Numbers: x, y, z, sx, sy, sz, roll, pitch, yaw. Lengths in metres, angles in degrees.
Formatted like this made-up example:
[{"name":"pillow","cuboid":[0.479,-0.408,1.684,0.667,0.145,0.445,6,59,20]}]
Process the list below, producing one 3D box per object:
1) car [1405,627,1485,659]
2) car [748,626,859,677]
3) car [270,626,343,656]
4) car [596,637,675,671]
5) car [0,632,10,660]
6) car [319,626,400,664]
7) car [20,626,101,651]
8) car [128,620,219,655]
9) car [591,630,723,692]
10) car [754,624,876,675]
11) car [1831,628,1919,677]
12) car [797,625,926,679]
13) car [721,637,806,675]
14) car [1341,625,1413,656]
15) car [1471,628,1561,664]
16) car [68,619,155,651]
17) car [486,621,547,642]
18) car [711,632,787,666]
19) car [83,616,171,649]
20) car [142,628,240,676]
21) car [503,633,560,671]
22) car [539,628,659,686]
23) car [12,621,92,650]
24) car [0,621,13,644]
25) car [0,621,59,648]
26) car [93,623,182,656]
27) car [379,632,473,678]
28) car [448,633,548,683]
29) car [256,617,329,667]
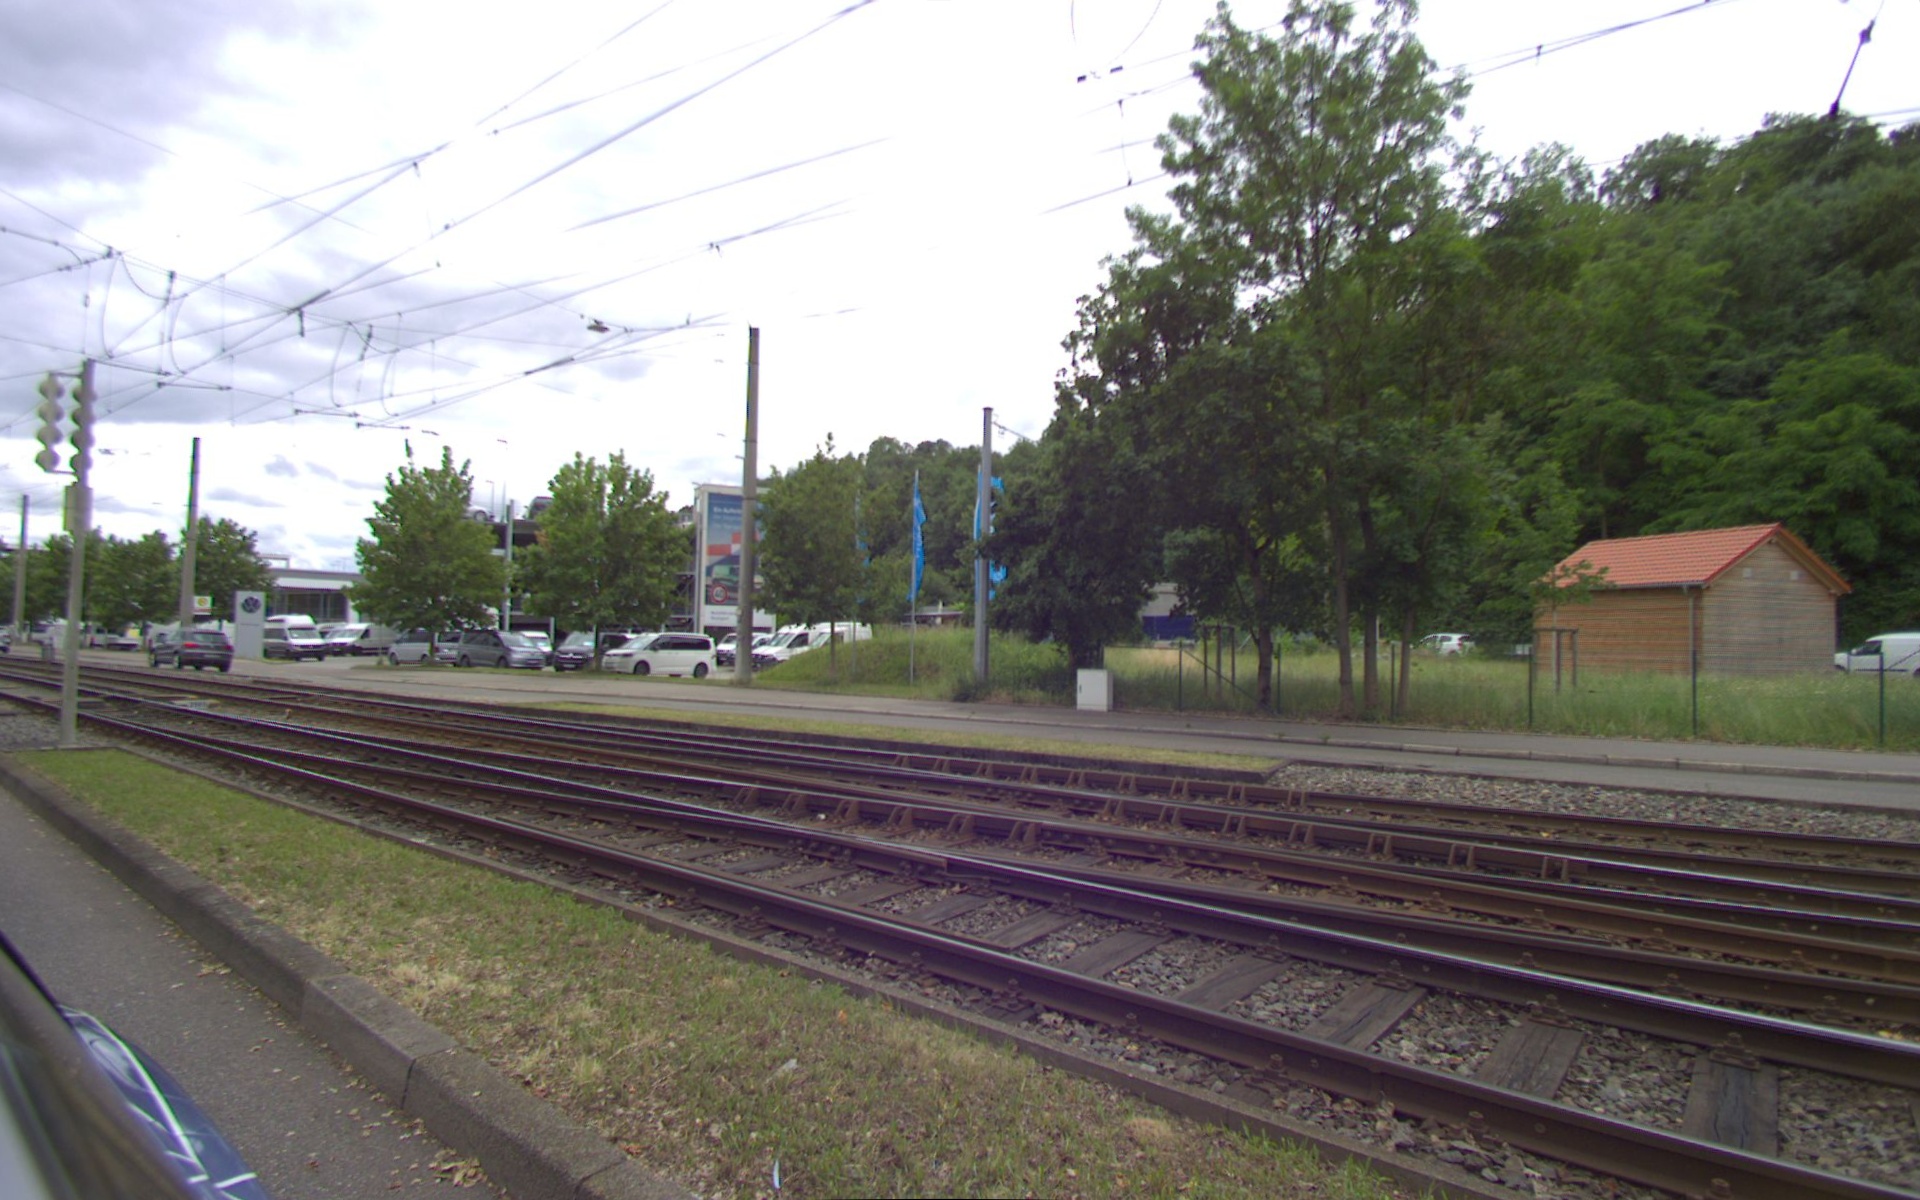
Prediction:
[{"name":"car","cuboid":[26.494,2.322,55.390,1.727,1.625,3.693,-1,0,-25]},{"name":"car","cuboid":[-8.394,2.712,54.441,5.568,2.479,1.986,-1,0,-31]},{"name":"car","cuboid":[-53.652,3.309,83.131,2.107,2.225,4.579,-1,0,39]},{"name":"car","cuboid":[-19.417,3.203,60.623,4.165,1.850,1.986,-1,0,-31]},{"name":"car","cuboid":[-55.493,2.580,57.104,4.169,1.590,1.976,-1,-4,36]},{"name":"car","cuboid":[-46.466,3.425,78.528,2.293,2.642,6.036,-1,0,6]},{"name":"car","cuboid":[-73.567,3.092,82.843,2.102,1.854,4.589,-1,0,32]},{"name":"car","cuboid":[-54.960,2.566,70.799,2.102,2.225,4.589,-1,0,32]},{"name":"car","cuboid":[-12.826,2.519,43.121,1.997,2.284,5.206,-1,0,37]},{"name":"car","cuboid":[-7.307,2.446,51.120,5.751,2.284,2.060,-1,0,-28]},{"name":"car","cuboid":[34.191,1.869,36.533,1.877,1.625,3.693,-1,0,-22]},{"name":"car","cuboid":[-4.690,2.412,48.370,5.762,2.284,2.060,-1,0,-28]},{"name":"car","cuboid":[-10.908,3.059,56.262,4.165,1.850,1.986,-1,0,-31]},{"name":"car","cuboid":[24.483,2.347,59.462,1.727,1.625,3.693,-1,0,-25]},{"name":"car","cuboid":[28.189,2.301,51.435,1.727,1.625,3.693,-1,0,-22]},{"name":"car","cuboid":[-63.851,2.609,76.232,2.102,2.225,4.589,-1,0,32]},{"name":"car","cuboid":[-41.802,2.966,95.388,5.138,1.850,1.986,-1,0,-29]},{"name":"car","cuboid":[-12.973,3.002,62.224,4.165,1.850,1.986,-1,0,-31]},{"name":"car","cuboid":[-61.473,2.380,74.748,2.102,2.225,4.589,-1,0,32]},{"name":"car","cuboid":[-30.775,2.065,40.467,4.128,1.731,1.883,-1,-6,36]},{"name":"car","cuboid":[-24.506,2.924,57.819,1.872,1.907,4.606,-1,0,-38]},{"name":"car","cuboid":[-15.995,2.449,45.061,1.977,2.284,4.717,-1,0,37]},{"name":"car","cuboid":[-75.523,2.932,84.252,2.102,2.225,4.589,-1,0,32]},{"name":"car","cuboid":[-94.069,3.170,96.866,2.102,2.225,4.589,-1,0,32]},{"name":"car","cuboid":[-83.590,3.035,90.151,2.102,2.225,4.589,-1,0,32]},{"name":"car","cuboid":[-59.492,2.806,73.300,2.102,2.225,4.589,-1,0,32]},{"name":"car","cuboid":[-27.041,2.748,51.210,4.761,2.132,2.119,-1,0,32]},{"name":"car","cuboid":[-21.815,2.671,47.739,4.763,2.132,2.118,-1,0,34]},{"name":"car","cuboid":[-43.171,2.651,65.420,6.154,3.034,2.291,-1,0,40]}]
